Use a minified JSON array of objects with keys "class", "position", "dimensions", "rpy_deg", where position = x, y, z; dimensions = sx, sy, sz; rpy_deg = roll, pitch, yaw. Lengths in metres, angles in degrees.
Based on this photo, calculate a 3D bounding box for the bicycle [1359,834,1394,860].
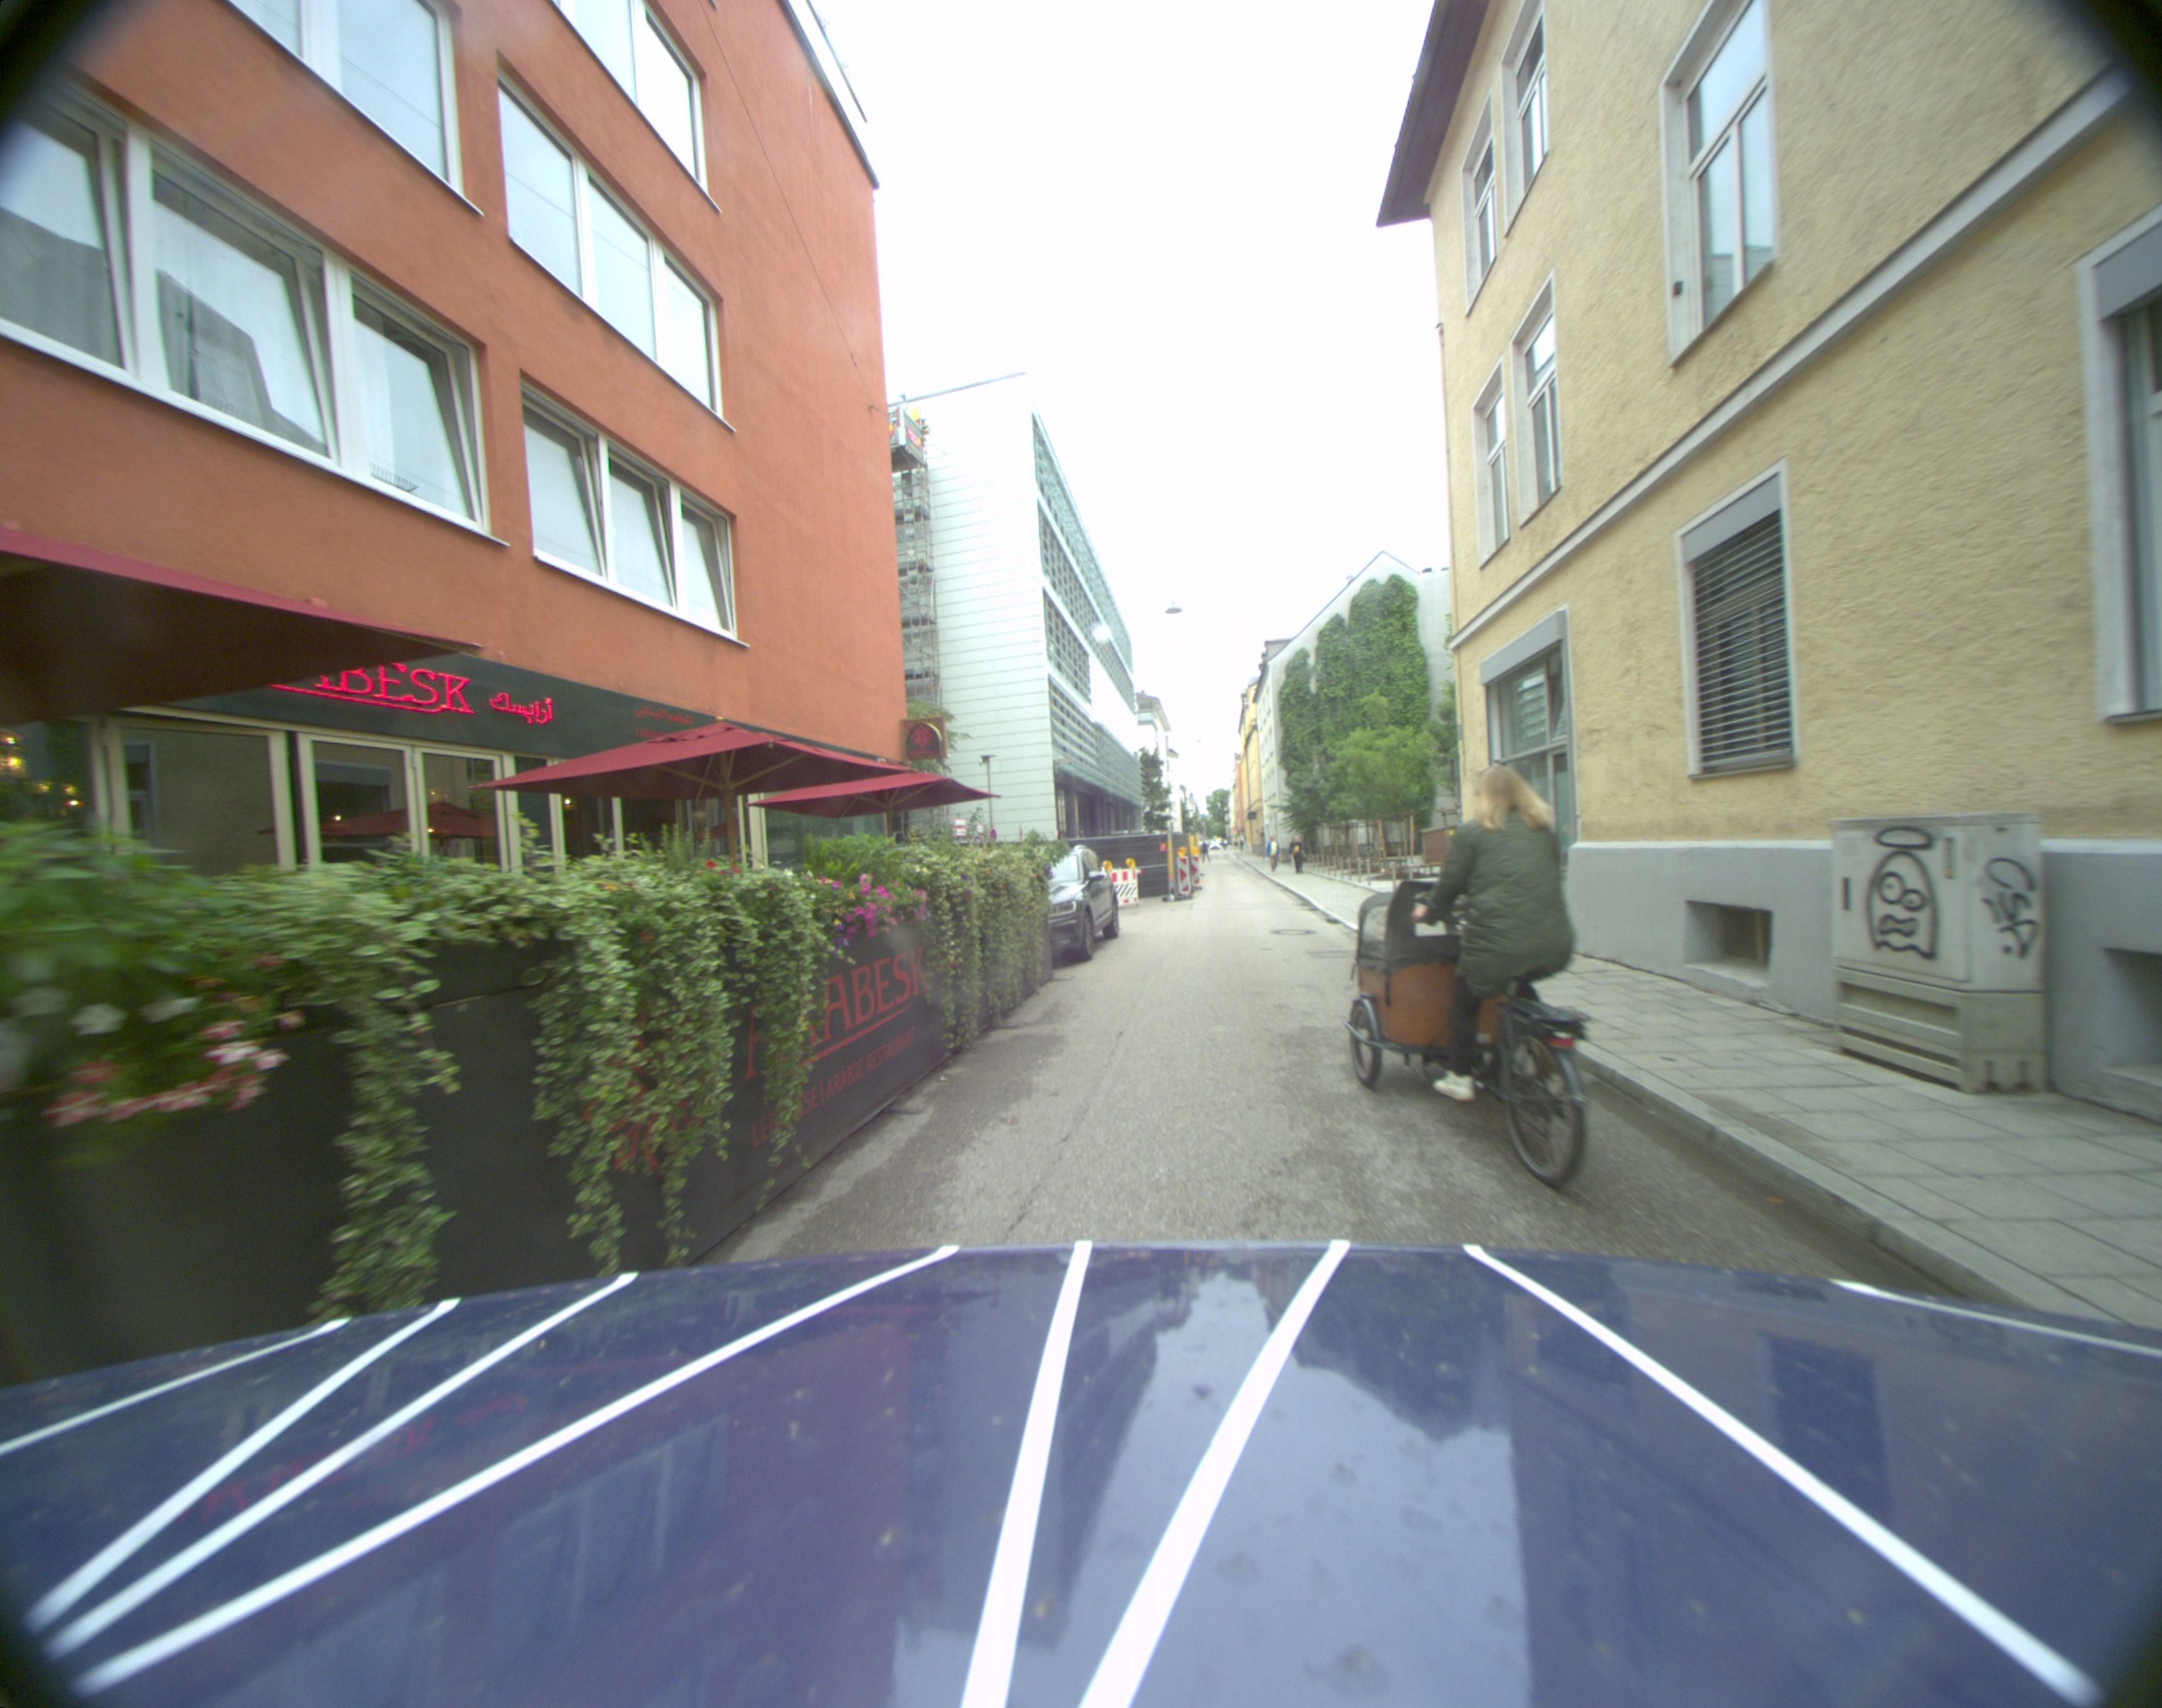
[{"class":"bicycle","position":[15.068,-0.358,38.750],"dimensions":[0.713,1.202,1.997],"rpy_deg":[-5,1,-7]}]

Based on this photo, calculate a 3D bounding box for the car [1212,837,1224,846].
[{"class":"car","position":[26.024,-2.450,144.468],"dimensions":[1.997,1.583,4.377],"rpy_deg":[-3,1,10]}]

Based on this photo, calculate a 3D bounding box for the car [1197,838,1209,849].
[{"class":"car","position":[19.448,-1.679,121.062],"dimensions":[1.792,1.550,4.002],"rpy_deg":[-3,1,10]}]

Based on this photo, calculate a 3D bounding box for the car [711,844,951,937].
[{"class":"car","position":[-5.299,0.751,16.365],"dimensions":[4.469,1.710,1.842],"rpy_deg":[-3,1,10]}]

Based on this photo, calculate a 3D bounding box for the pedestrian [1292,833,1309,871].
[{"class":"pedestrian","position":[9.786,-0.104,33.869],"dimensions":[0.553,1.650,0.998],"rpy_deg":[-3,1,10]}]

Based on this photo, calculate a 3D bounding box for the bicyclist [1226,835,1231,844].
[{"class":"bicyclist","position":[25.788,-2.537,133.136],"dimensions":[0.718,1.400,0.966],"rpy_deg":[-3,1,9]}]

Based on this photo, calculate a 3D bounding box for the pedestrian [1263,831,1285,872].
[{"class":"pedestrian","position":[9.139,-0.124,36.044],"dimensions":[0.860,1.834,0.974],"rpy_deg":[-4,1,12]}]

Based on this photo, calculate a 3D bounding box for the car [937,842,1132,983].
[{"class":"car","position":[-0.477,0.738,11.940],"dimensions":[1.827,1.700,4.392],"rpy_deg":[-4,0,12]}]

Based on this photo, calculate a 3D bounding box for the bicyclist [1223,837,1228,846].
[{"class":"bicyclist","position":[24.885,-2.176,130.541],"dimensions":[0.700,1.400,0.769],"rpy_deg":[-3,1,9]}]

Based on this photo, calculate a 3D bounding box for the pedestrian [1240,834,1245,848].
[{"class":"pedestrian","position":[21.779,-1.788,102.411],"dimensions":[0.493,1.814,0.553],"rpy_deg":[-3,1,10]}]

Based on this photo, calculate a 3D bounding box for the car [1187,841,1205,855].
[{"class":"car","position":[12.472,-0.676,82.129],"dimensions":[1.808,1.390,4.002],"rpy_deg":[-3,1,10]}]

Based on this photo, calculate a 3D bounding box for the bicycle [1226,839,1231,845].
[{"class":"bicycle","position":[25.825,-2.092,133.280],"dimensions":[0.700,0.926,1.695],"rpy_deg":[-3,1,9]}]

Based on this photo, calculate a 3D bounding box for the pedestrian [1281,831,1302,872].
[{"class":"pedestrian","position":[9.754,-0.104,35.252],"dimensions":[0.777,1.826,0.992],"rpy_deg":[-3,1,10]}]

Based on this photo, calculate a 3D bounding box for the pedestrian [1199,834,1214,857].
[{"class":"pedestrian","position":[10.604,-0.690,64.237],"dimensions":[0.745,1.892,0.877],"rpy_deg":[-5,1,-22]}]

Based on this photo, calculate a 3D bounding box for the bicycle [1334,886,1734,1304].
[{"class":"bicycle","position":[1.958,0.888,3.836],"dimensions":[0.933,1.250,2.415],"rpy_deg":[-2,1,11]}]

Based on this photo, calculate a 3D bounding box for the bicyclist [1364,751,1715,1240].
[{"class":"bicyclist","position":[1.830,0.506,3.267],"dimensions":[0.928,1.711,1.100],"rpy_deg":[-2,1,10]}]

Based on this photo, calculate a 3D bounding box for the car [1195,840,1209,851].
[{"class":"car","position":[15.741,-1.158,98.778],"dimensions":[1.624,1.259,4.332],"rpy_deg":[-3,1,10]}]
